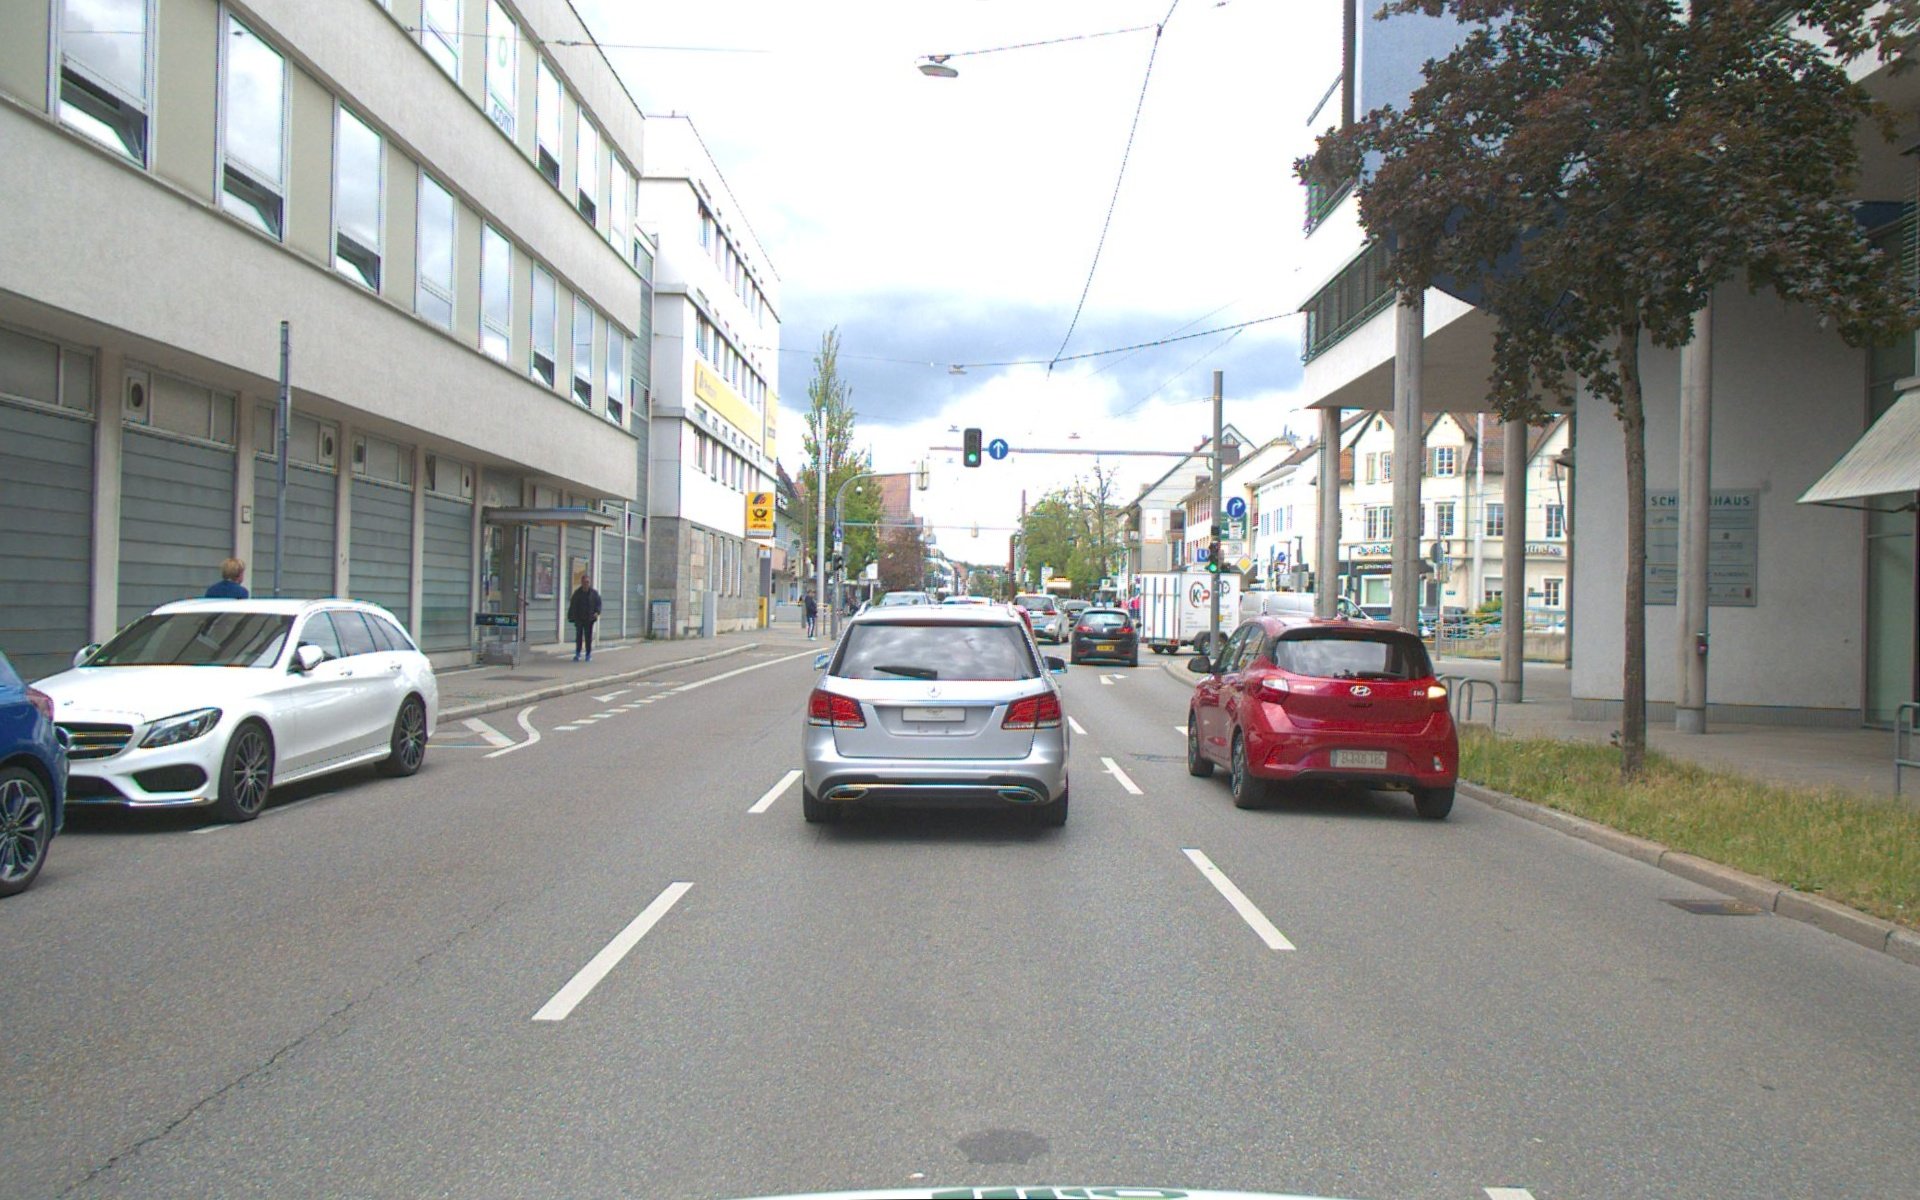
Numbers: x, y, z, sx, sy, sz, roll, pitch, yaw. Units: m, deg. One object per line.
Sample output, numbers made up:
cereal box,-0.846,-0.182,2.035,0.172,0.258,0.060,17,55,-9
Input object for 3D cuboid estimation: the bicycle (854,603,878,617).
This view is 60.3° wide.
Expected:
bicycle,-7.837,0.849,137.794,1.902,1.047,0.529,2,0,-9

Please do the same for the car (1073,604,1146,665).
car,3.807,0.852,42.693,1.698,1.435,4.002,1,0,3

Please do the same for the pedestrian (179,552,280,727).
pedestrian,-7.553,0.399,17.147,0.577,1.748,1.055,1,0,-2

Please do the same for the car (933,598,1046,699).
car,0.418,0.744,27.602,1.699,1.534,3.999,1,0,-1

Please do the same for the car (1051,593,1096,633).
car,5.462,0.611,79.991,1.791,1.816,3.999,1,0,-1

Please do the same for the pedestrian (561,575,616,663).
pedestrian,-7.636,0.385,34.038,0.844,1.748,1.031,2,0,-2

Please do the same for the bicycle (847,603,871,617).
bicycle,-8.173,0.827,133.865,1.902,1.047,0.529,2,0,-9

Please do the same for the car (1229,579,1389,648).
car,11.471,0.453,54.394,4.817,1.979,1.873,3,0,-20

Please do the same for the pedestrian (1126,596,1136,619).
pedestrian,12.615,0.559,122.076,0.567,1.695,0.649,2,0,-10

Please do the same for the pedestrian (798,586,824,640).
pedestrian,-4.926,0.418,54.640,0.634,1.748,0.783,2,0,7

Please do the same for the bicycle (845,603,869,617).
bicycle,-8.424,0.821,135.120,1.902,1.047,0.529,2,0,-9

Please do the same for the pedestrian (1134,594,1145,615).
pedestrian,12.907,0.330,118.840,0.567,1.495,0.650,2,0,-6

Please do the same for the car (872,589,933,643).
car,-1.819,0.489,53.807,1.739,1.660,4.768,0,0,1

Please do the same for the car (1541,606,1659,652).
car,29.528,1.315,76.437,1.970,1.952,4.718,3,-1,-38

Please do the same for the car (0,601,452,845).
car,-5.398,0.756,12.372,1.635,1.459,4.554,-1,0,2

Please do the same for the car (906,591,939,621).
car,-2.155,0.358,96.682,1.762,1.724,3.898,0,0,1

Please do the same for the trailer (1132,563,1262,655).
trailer,7.480,0.299,51.940,1.851,2.658,4.296,3,0,42

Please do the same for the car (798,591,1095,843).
car,-0.138,0.718,12.252,1.808,1.534,4.170,1,0,-2

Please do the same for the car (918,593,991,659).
car,-0.187,0.615,40.868,1.699,1.534,3.999,1,0,-2

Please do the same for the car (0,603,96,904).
car,-5.592,0.756,6.687,1.777,1.451,4.266,-1,0,3

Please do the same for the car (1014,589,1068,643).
car,2.819,0.533,57.161,1.697,1.790,4.002,1,0,5

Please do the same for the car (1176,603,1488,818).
car,2.990,0.818,14.140,1.664,1.477,3.999,3,0,-1
